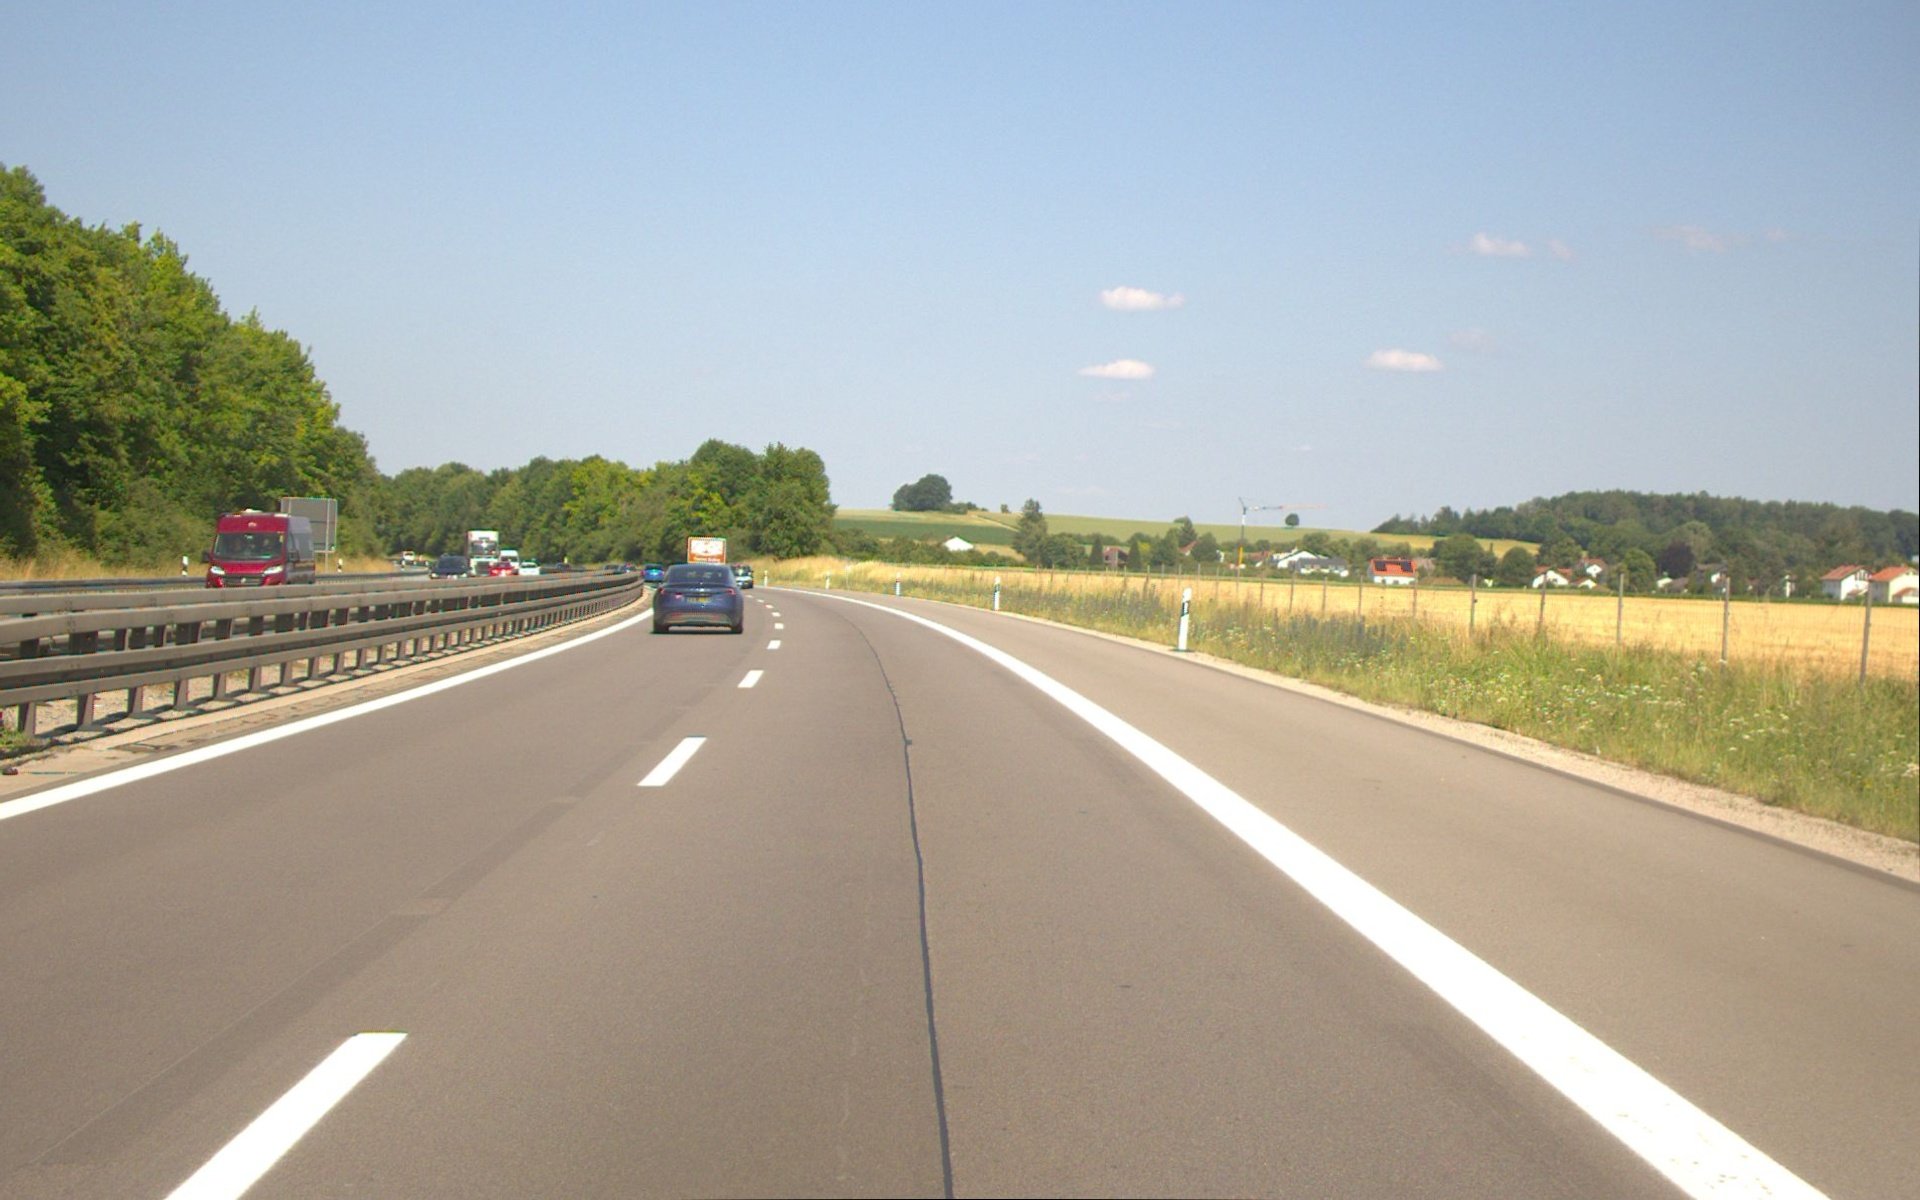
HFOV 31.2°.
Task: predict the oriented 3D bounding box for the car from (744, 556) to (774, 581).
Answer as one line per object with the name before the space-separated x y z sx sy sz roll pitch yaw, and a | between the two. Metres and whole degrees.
car | -11.964 -1.897 204.535 1.676 1.448 3.593 1 1 -5

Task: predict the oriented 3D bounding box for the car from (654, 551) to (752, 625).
car | -5.369 -0.281 72.408 1.847 1.428 5.866 1 1 -2

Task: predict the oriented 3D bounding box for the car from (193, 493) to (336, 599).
car | -17.976 -1.404 89.226 2.543 2.586 6.594 2 1 -2

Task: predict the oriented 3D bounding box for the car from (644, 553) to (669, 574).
car | -21.484 -2.571 243.572 1.676 1.448 3.592 1 1 -5

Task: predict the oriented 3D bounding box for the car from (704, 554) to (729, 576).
car | -16.629 -2.376 234.666 1.676 1.448 3.592 1 1 -5

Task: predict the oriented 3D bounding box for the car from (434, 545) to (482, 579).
car | -23.501 -1.787 161.064 1.810 1.550 4.850 1 1 -3
